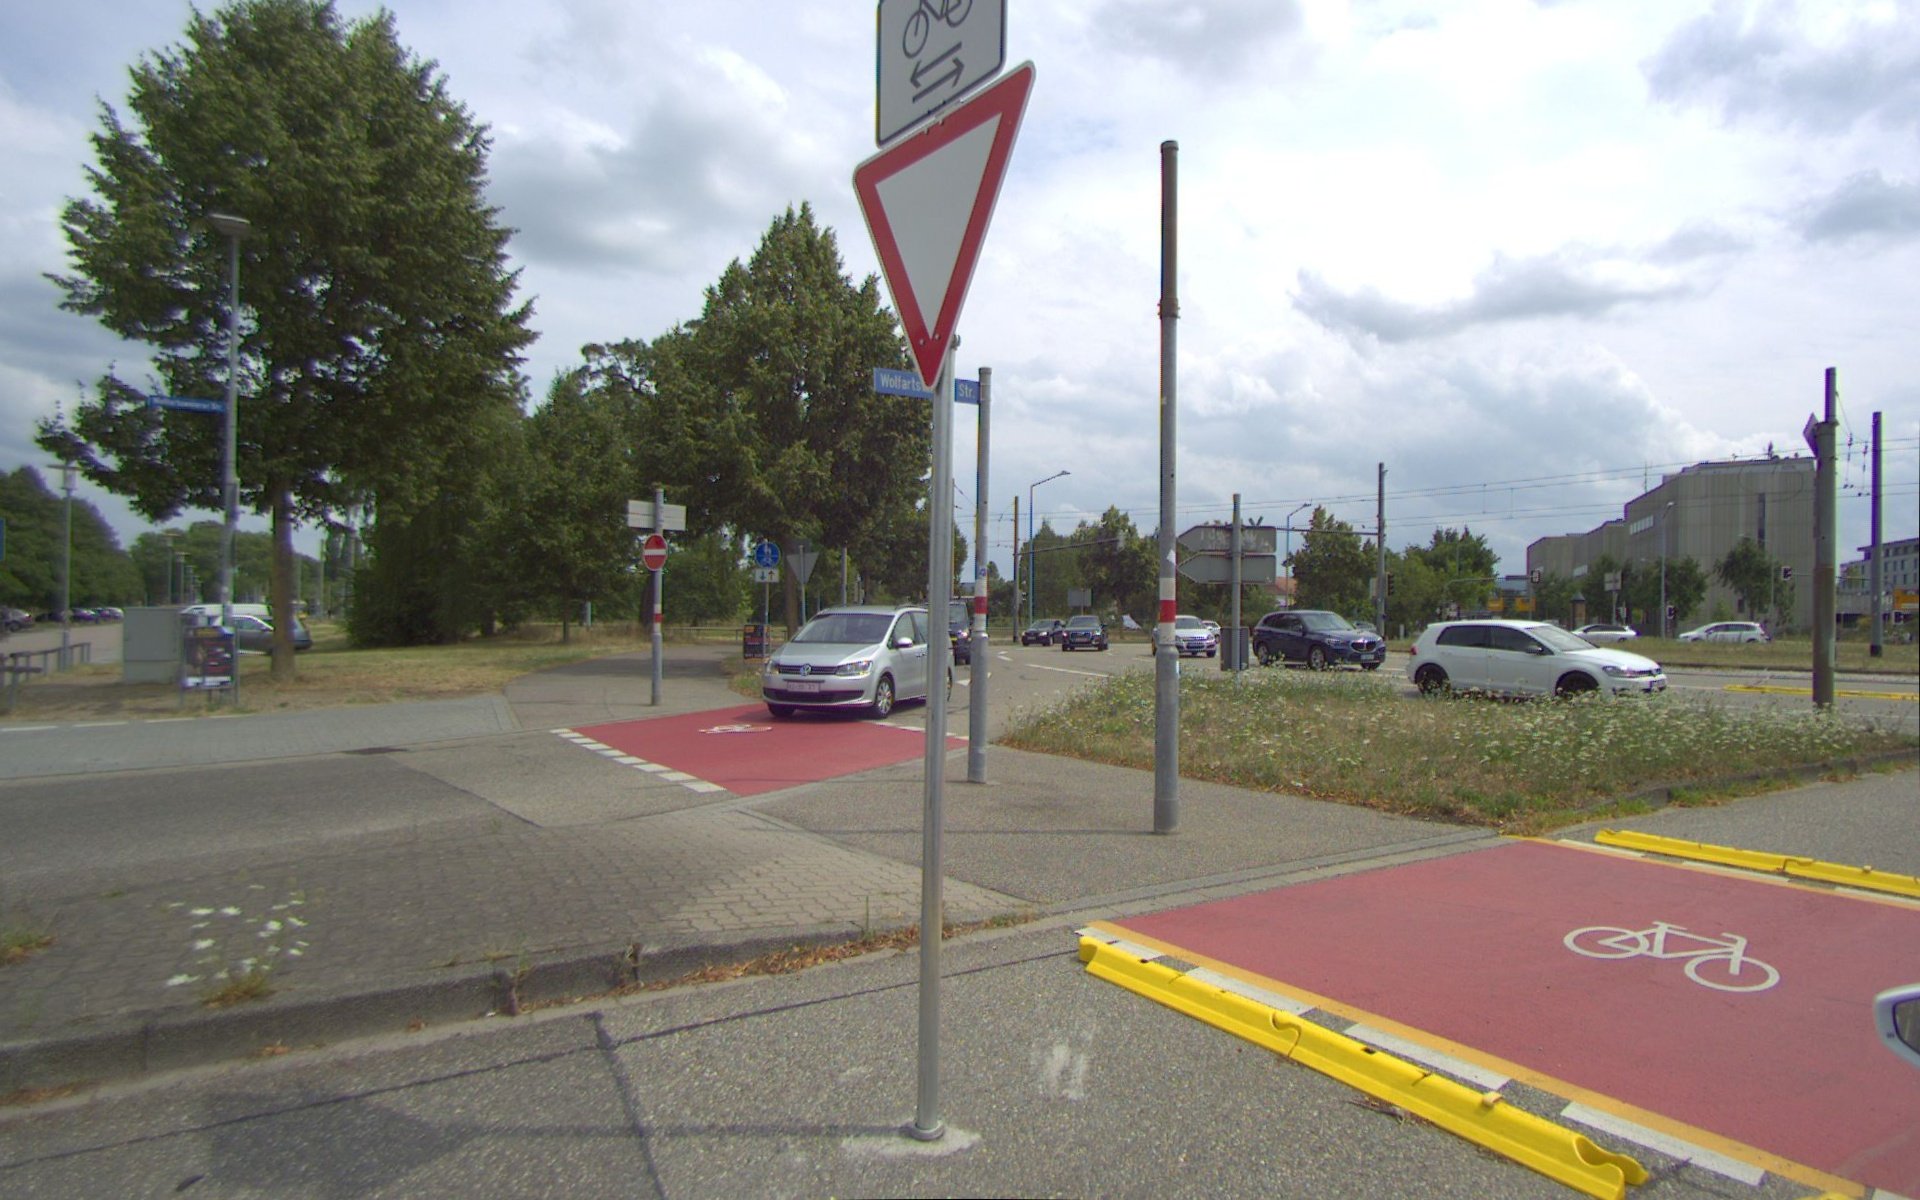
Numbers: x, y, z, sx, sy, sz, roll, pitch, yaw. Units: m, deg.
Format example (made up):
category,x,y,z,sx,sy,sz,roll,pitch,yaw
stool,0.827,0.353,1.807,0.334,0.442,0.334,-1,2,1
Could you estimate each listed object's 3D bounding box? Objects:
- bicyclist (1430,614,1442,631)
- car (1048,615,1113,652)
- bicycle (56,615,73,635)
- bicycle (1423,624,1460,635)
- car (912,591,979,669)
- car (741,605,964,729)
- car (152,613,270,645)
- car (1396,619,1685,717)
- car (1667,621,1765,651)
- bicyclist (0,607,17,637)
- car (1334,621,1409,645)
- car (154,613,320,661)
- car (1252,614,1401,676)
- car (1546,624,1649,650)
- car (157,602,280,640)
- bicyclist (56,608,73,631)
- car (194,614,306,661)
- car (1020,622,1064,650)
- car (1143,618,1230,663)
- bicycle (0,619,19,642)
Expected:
category,x,y,z,sx,sy,sz,roll,pitch,yaw
bicyclist,39.803,1.853,83.936,0.660,1.428,0.865,1,-1,6
car,5.189,1.438,43.855,1.710,1.539,4.139,1,-1,-10
bicycle,-57.331,1.591,64.324,0.773,1.191,2.203,1,-1,-40
bicycle,40.205,2.430,83.879,2.605,0.866,0.865,1,-1,6
car,-0.402,0.947,32.749,1.960,2.303,5.161,1,-1,1
car,-1.483,0.942,15.960,1.766,1.644,4.749,0,-1,17
car,-36.518,1.417,49.094,4.562,1.491,1.814,2,-1,-37
car,10.331,1.121,18.198,1.782,1.517,4.223,1,-1,-32
car,45.607,2.163,60.691,4.267,1.688,1.939,1,-1,15
bicyclist,-45.082,1.036,47.423,0.595,1.442,0.797,1,-1,-30
car,28.672,2.307,70.115,4.390,1.572,2.063,1,-1,-6
car,-25.568,1.273,35.609,4.668,1.491,1.812,-1,1,-40
car,9.900,1.165,27.503,1.703,1.554,4.360,1,-1,-14
car,39.634,2.301,62.582,5.079,1.502,2.001,1,-1,16
car,-42.324,1.224,57.405,5.523,2.083,2.176,2,-1,-39
bicyclist,-57.313,1.239,64.305,0.774,1.423,0.720,1,-1,-41
car,-23.842,1.239,33.772,2.896,1.442,1.465,-1,0,-44
car,4.420,1.948,54.324,1.602,1.433,3.718,0,-2,-8
car,7.963,1.384,35.652,1.796,1.482,4.257,1,-1,-5
bicycle,-45.052,1.411,47.360,0.595,1.060,1.815,1,-1,-30
